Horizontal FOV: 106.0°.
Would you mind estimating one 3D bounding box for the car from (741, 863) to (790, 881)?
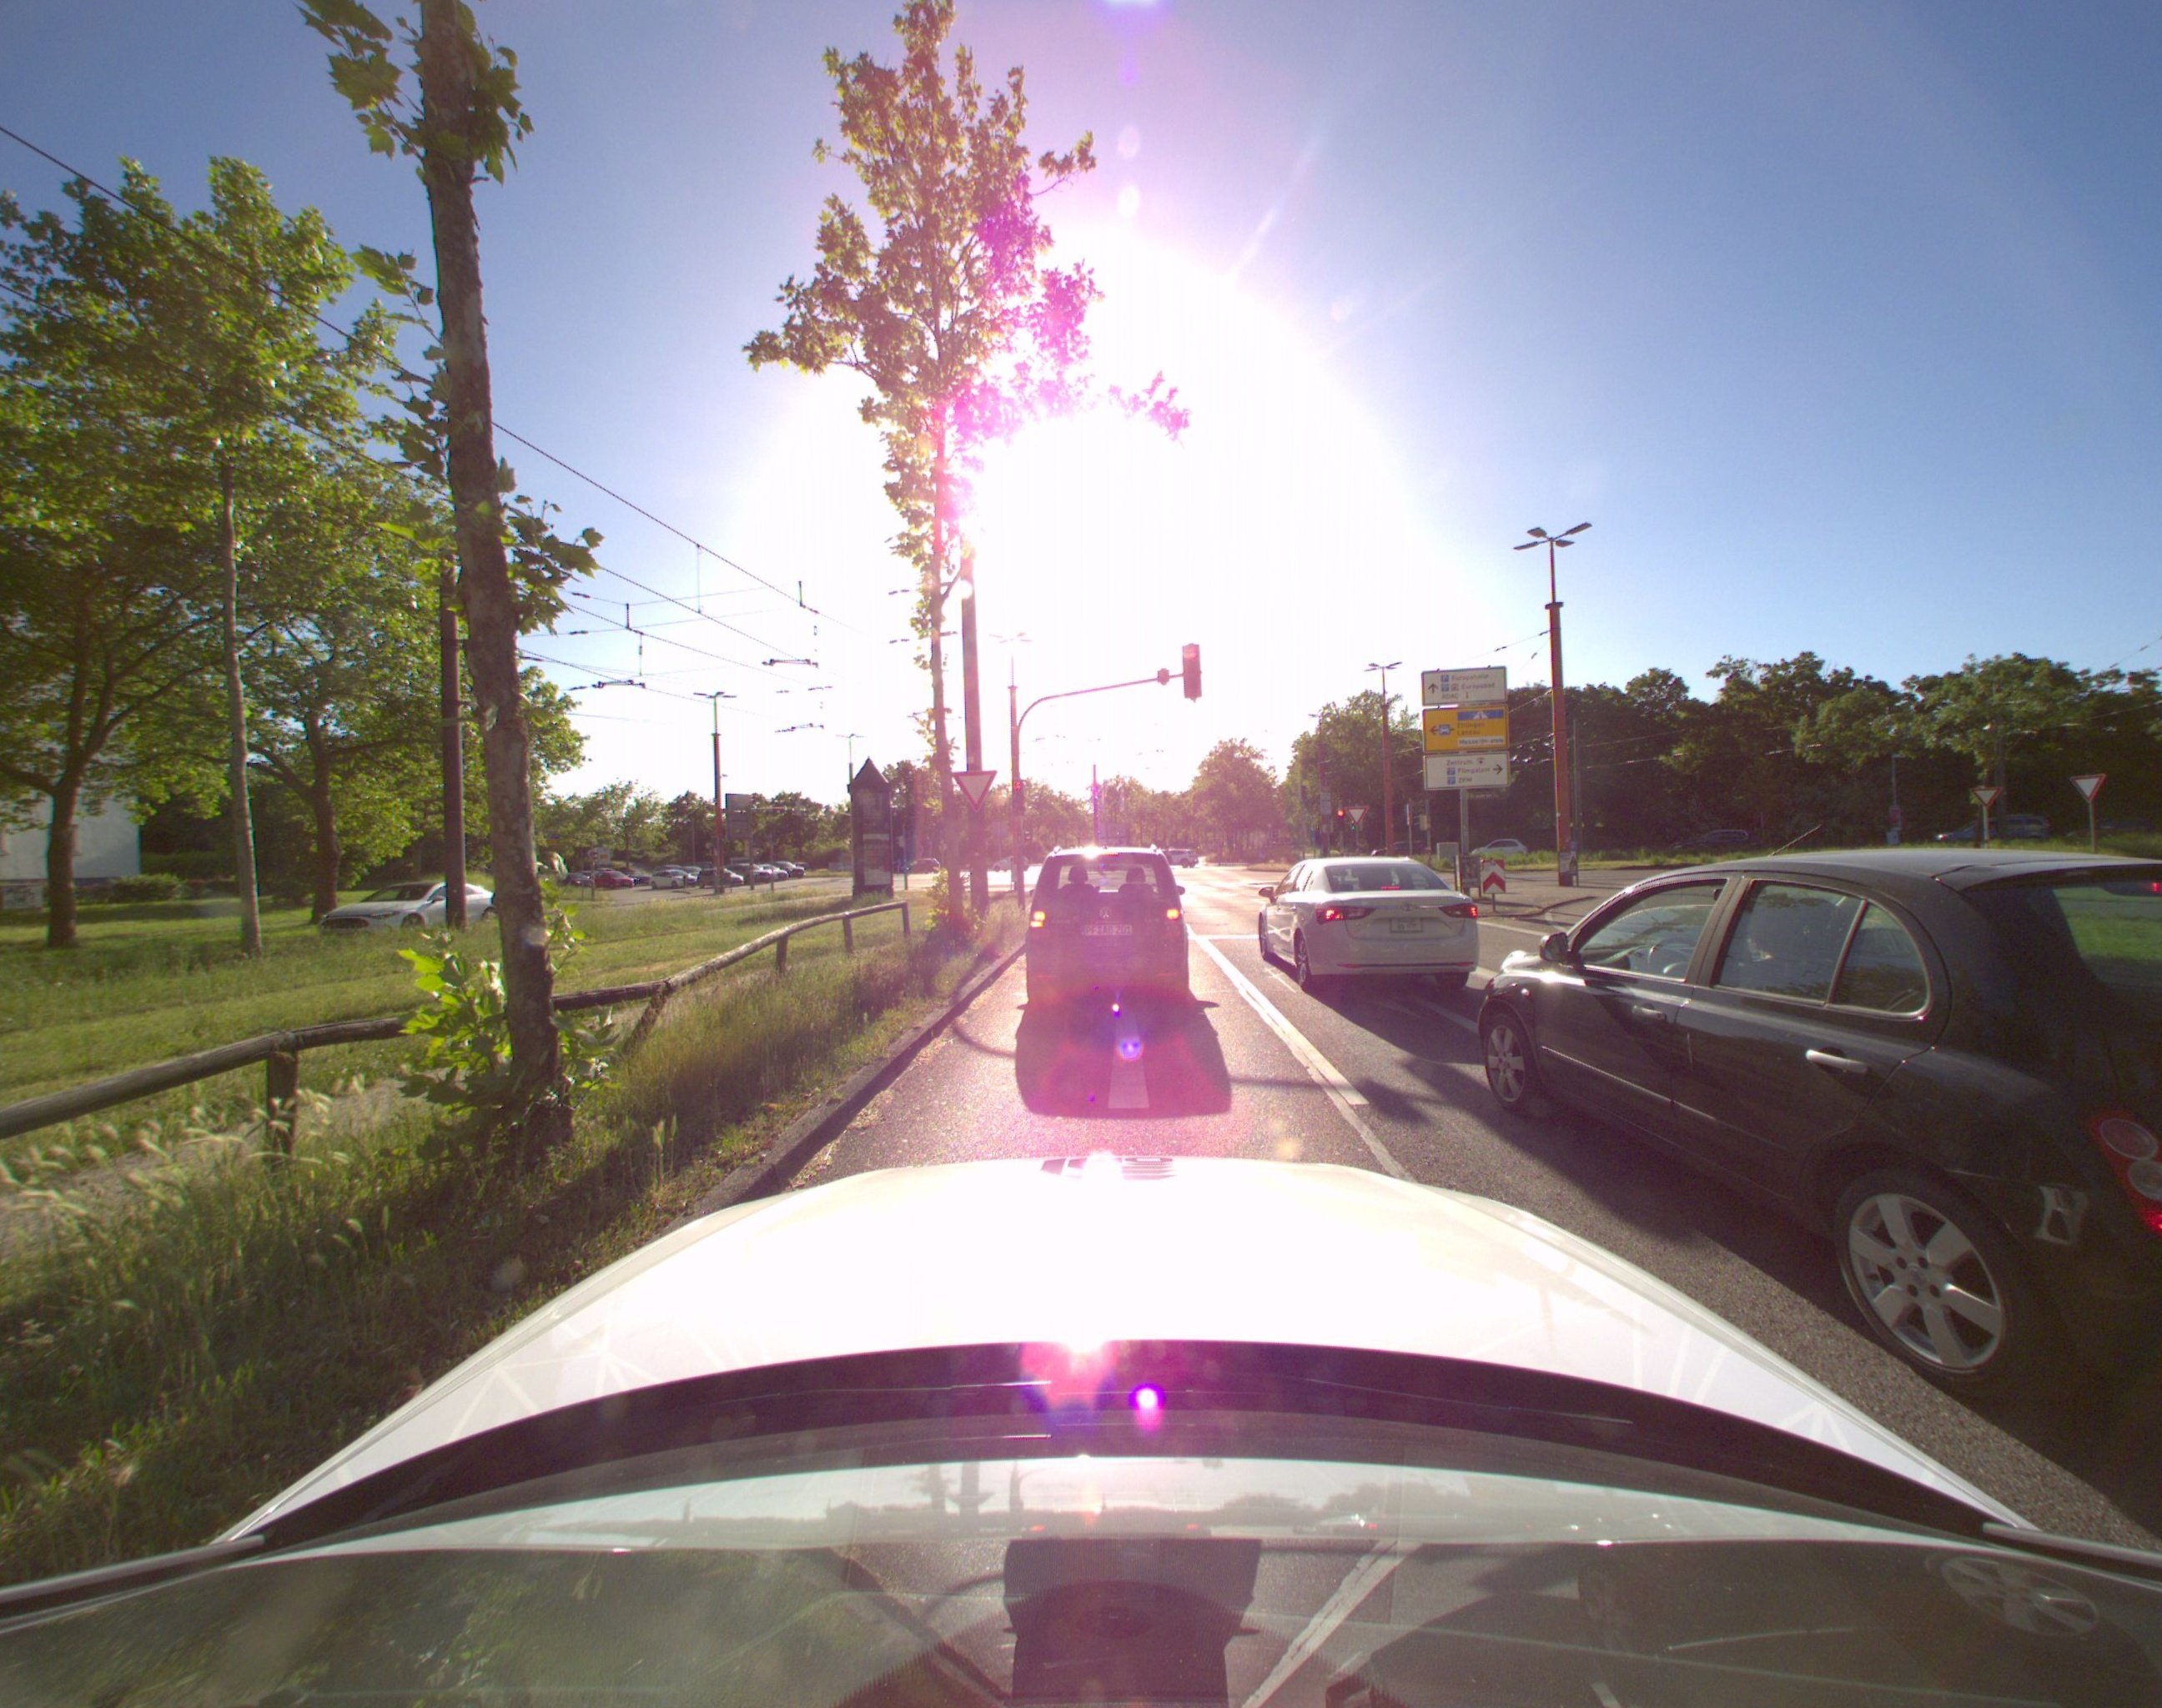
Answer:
[{"bbox_3d":[-26.835,1.523,69.182,4.102,1.415,1.553,-1,0,28],"label":"car"}]

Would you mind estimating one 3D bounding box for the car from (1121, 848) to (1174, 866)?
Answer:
[{"bbox_3d":[5.651,0.236,69.075,4.081,1.403,1.666,-1,0,25],"label":"car"}]

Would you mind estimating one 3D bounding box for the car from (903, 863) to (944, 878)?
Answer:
[{"bbox_3d":[-15.518,1.611,80.133,3.755,1.403,1.667,-1,0,32],"label":"car"}]

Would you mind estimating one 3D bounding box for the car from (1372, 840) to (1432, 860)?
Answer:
[{"bbox_3d":[24.567,-0.293,62.381,4.079,1.471,1.667,-1,0,29],"label":"car"}]

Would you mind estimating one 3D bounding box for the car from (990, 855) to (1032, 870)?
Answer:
[{"bbox_3d":[-6.898,0.879,79.952,3.756,1.403,1.667,-1,0,27],"label":"car"}]

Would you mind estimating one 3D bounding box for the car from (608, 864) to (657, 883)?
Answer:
[{"bbox_3d":[-40.457,1.727,73.426,4.583,1.647,1.767,-1,0,32],"label":"car"}]

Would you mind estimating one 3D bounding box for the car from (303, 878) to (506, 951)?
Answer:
[{"bbox_3d":[-17.495,1.487,21.416,1.648,1.510,4.637,-1,0,-3],"label":"car"}]

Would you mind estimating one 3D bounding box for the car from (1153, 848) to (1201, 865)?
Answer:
[{"bbox_3d":[8.391,0.256,71.302,3.755,1.403,1.667,-1,0,34],"label":"car"}]

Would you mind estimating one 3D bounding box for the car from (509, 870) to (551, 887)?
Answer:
[{"bbox_3d":[-51.127,2.261,75.517,4.145,1.520,1.667,-1,0,32],"label":"car"}]

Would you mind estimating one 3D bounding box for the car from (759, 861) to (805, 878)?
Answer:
[{"bbox_3d":[-26.731,1.381,72.807,4.102,1.415,1.553,-1,0,28],"label":"car"}]

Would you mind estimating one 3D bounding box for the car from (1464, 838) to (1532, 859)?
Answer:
[{"bbox_3d":[28.783,-0.374,56.279,4.079,1.403,1.667,-1,0,29],"label":"car"}]

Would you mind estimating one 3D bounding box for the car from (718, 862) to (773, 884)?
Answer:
[{"bbox_3d":[-26.927,1.516,65.346,4.583,1.647,1.667,-1,0,32],"label":"car"}]

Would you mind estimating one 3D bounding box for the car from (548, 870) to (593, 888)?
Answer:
[{"bbox_3d":[-45.081,2.221,71.896,4.145,1.520,1.667,-1,0,32],"label":"car"}]

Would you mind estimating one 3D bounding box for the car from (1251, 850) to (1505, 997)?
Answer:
[{"bbox_3d":[3.371,0.706,10.184,1.792,1.440,4.329,0,0,3],"label":"car"}]

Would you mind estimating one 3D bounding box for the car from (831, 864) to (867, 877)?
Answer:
[{"bbox_3d":[-25.601,1.825,89.748,3.755,1.403,1.667,-1,0,32],"label":"car"}]

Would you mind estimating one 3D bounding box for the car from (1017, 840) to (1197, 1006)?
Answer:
[{"bbox_3d":[0.364,0.687,10.079,1.731,1.602,4.329,0,-1,3],"label":"car"}]

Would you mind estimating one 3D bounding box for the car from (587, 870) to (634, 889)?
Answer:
[{"bbox_3d":[-39.443,2.150,68.246,4.145,1.520,1.667,-1,0,32],"label":"car"}]

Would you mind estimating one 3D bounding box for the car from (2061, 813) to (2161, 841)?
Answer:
[{"bbox_3d":[56.951,-1.478,44.430,4.080,1.403,1.666,-1,0,27],"label":"car"}]

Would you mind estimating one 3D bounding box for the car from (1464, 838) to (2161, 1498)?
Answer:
[{"bbox_3d":[3.178,0.693,3.485,1.570,1.440,3.443,0,-1,2],"label":"car"}]

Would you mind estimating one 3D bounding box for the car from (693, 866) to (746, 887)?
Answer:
[{"bbox_3d":[-27.332,1.694,61.564,3.793,1.441,1.667,-1,0,29],"label":"car"}]

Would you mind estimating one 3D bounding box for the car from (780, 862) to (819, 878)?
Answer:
[{"bbox_3d":[-30.150,1.691,87.298,3.948,1.643,2.013,-2,0,35],"label":"car"}]

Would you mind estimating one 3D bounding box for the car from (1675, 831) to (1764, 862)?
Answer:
[{"bbox_3d":[39.426,-0.455,50.427,4.079,1.791,1.810,-1,0,29],"label":"car"}]

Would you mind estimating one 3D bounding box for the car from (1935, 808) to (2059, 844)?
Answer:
[{"bbox_3d":[49.746,-1.509,44.352,4.079,1.791,1.810,-1,0,31],"label":"car"}]

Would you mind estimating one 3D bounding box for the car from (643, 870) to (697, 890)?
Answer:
[{"bbox_3d":[-32.666,2.074,64.728,4.577,1.520,1.667,-1,0,32],"label":"car"}]

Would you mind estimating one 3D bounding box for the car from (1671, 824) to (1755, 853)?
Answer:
[{"bbox_3d":[41.424,-0.987,53.502,4.080,1.791,1.810,-1,0,28],"label":"car"}]
